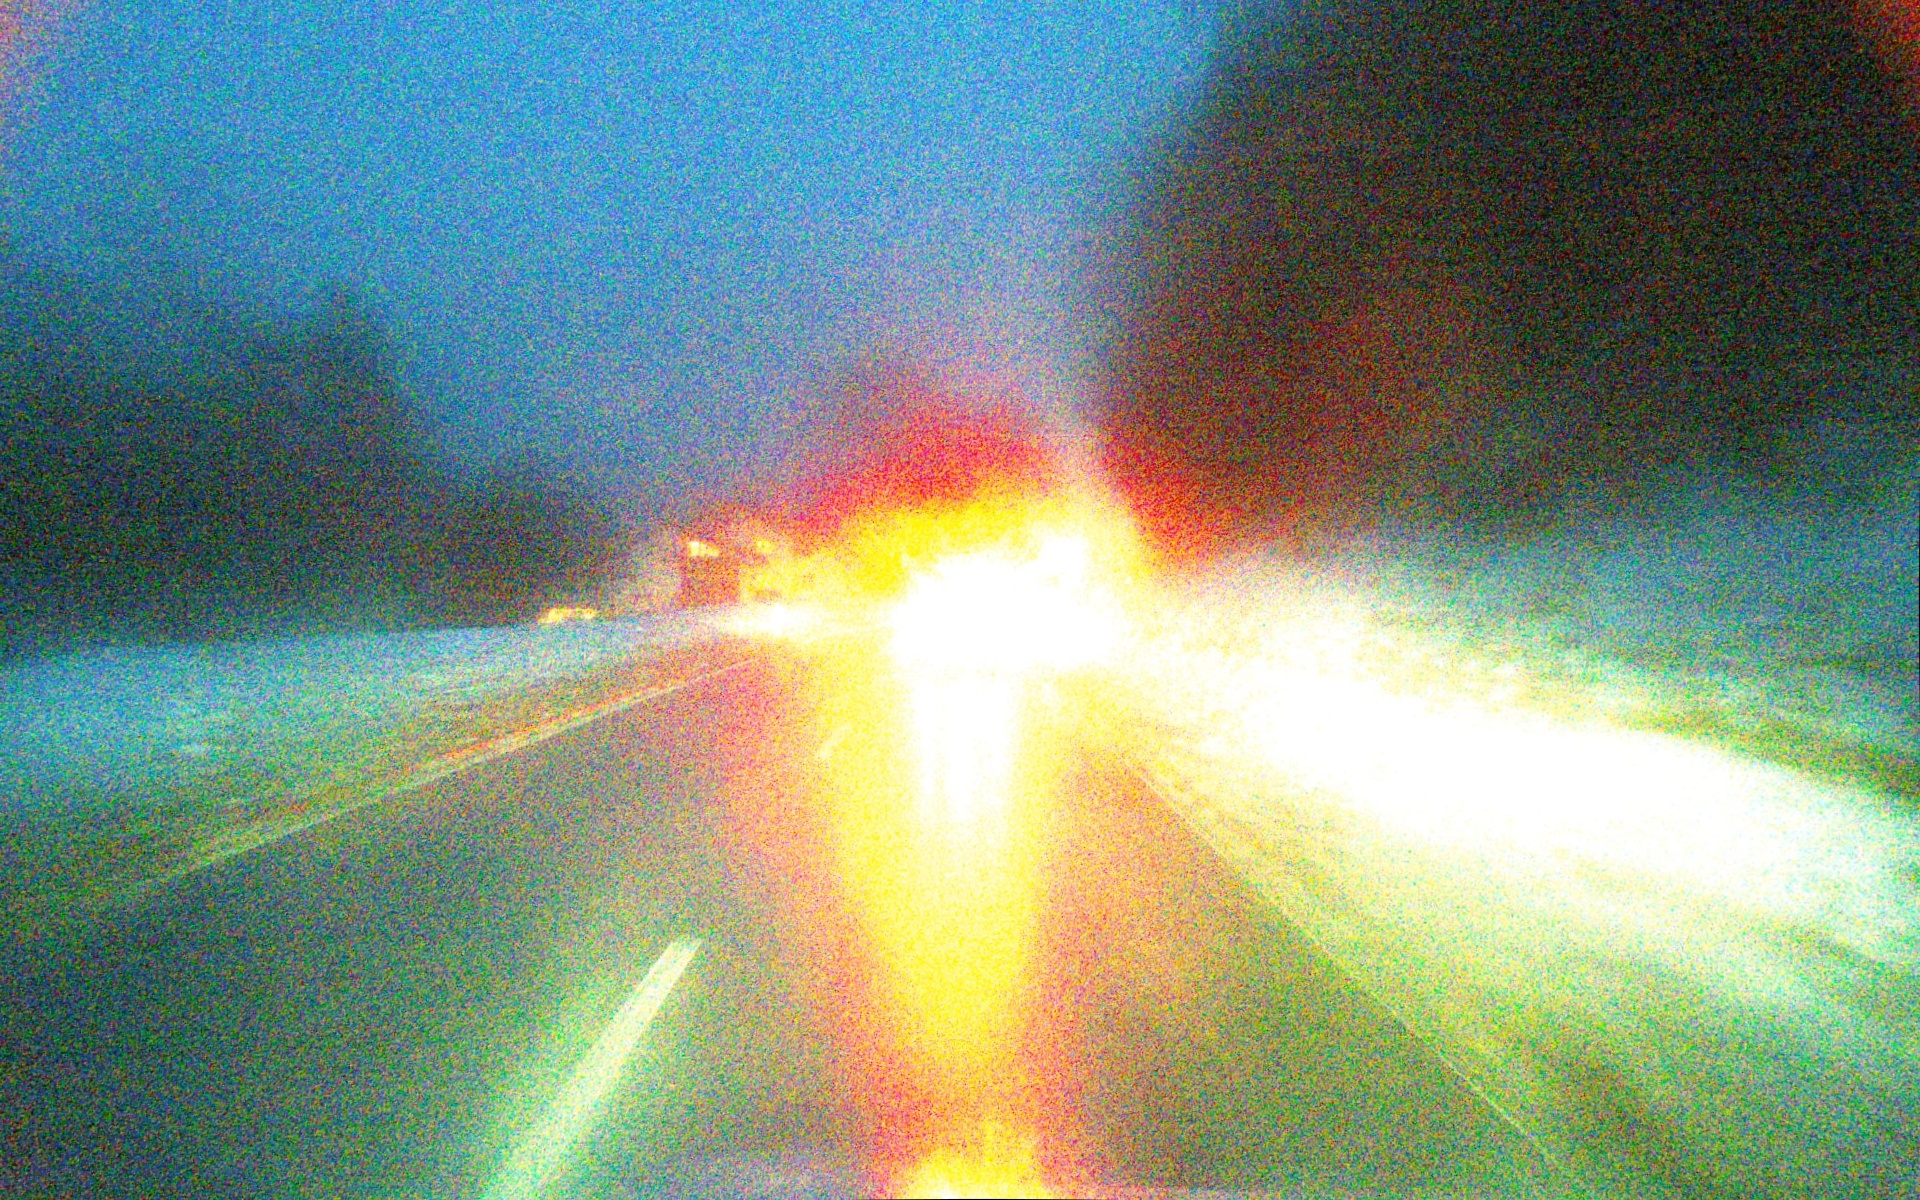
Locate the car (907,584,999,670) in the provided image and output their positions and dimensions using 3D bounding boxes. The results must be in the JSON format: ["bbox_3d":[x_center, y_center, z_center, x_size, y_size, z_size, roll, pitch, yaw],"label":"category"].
[{"bbox_3d":[-0.133,0.510,33.701,1.764,1.657,3.615,0,0,0],"label":"car"}]
